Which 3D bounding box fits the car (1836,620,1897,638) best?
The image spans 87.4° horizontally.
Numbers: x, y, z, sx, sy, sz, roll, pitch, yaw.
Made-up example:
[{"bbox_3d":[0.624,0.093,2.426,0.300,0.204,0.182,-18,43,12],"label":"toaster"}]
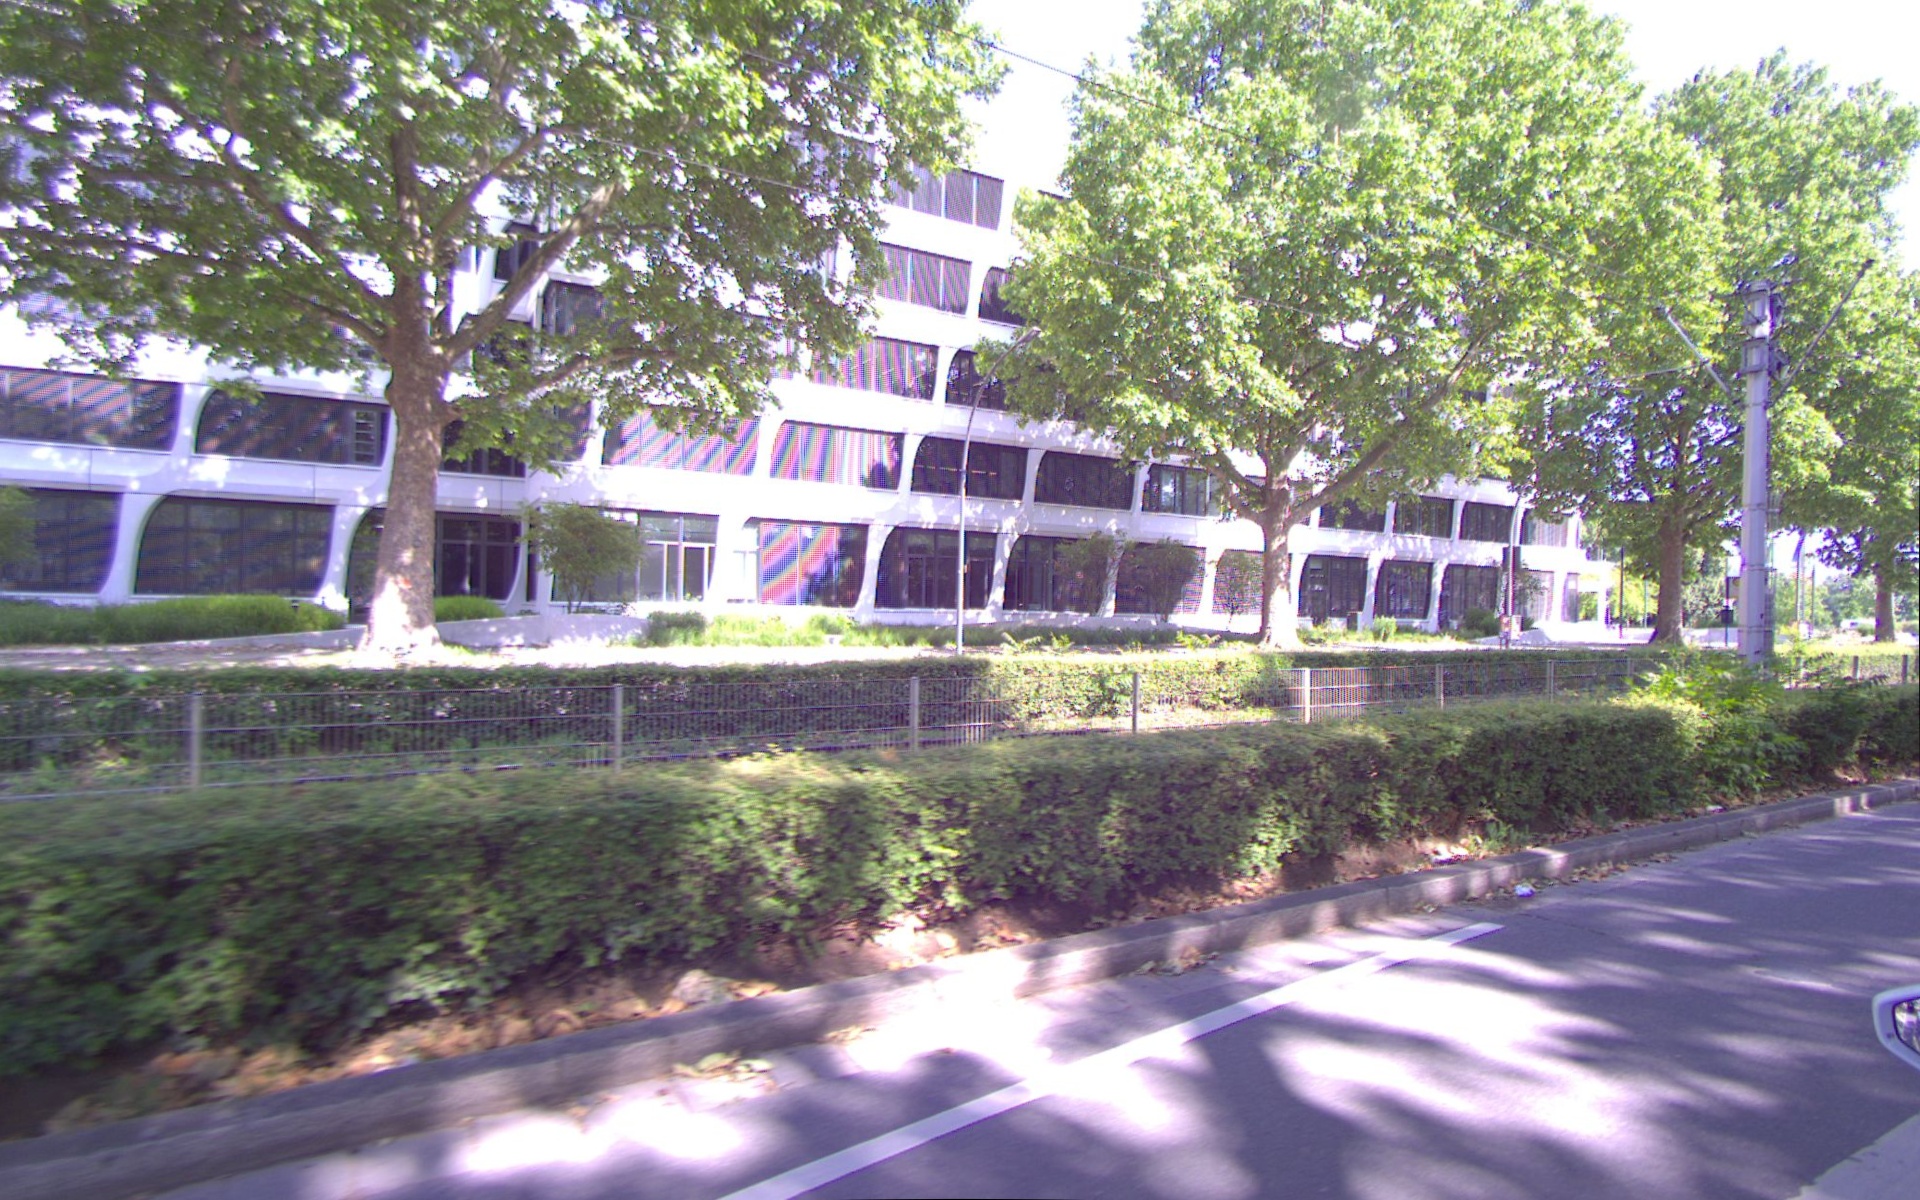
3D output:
[{"bbox_3d":[84.451,2.701,93.631,1.748,1.569,3.830,1,0,-29],"label":"car"}]
